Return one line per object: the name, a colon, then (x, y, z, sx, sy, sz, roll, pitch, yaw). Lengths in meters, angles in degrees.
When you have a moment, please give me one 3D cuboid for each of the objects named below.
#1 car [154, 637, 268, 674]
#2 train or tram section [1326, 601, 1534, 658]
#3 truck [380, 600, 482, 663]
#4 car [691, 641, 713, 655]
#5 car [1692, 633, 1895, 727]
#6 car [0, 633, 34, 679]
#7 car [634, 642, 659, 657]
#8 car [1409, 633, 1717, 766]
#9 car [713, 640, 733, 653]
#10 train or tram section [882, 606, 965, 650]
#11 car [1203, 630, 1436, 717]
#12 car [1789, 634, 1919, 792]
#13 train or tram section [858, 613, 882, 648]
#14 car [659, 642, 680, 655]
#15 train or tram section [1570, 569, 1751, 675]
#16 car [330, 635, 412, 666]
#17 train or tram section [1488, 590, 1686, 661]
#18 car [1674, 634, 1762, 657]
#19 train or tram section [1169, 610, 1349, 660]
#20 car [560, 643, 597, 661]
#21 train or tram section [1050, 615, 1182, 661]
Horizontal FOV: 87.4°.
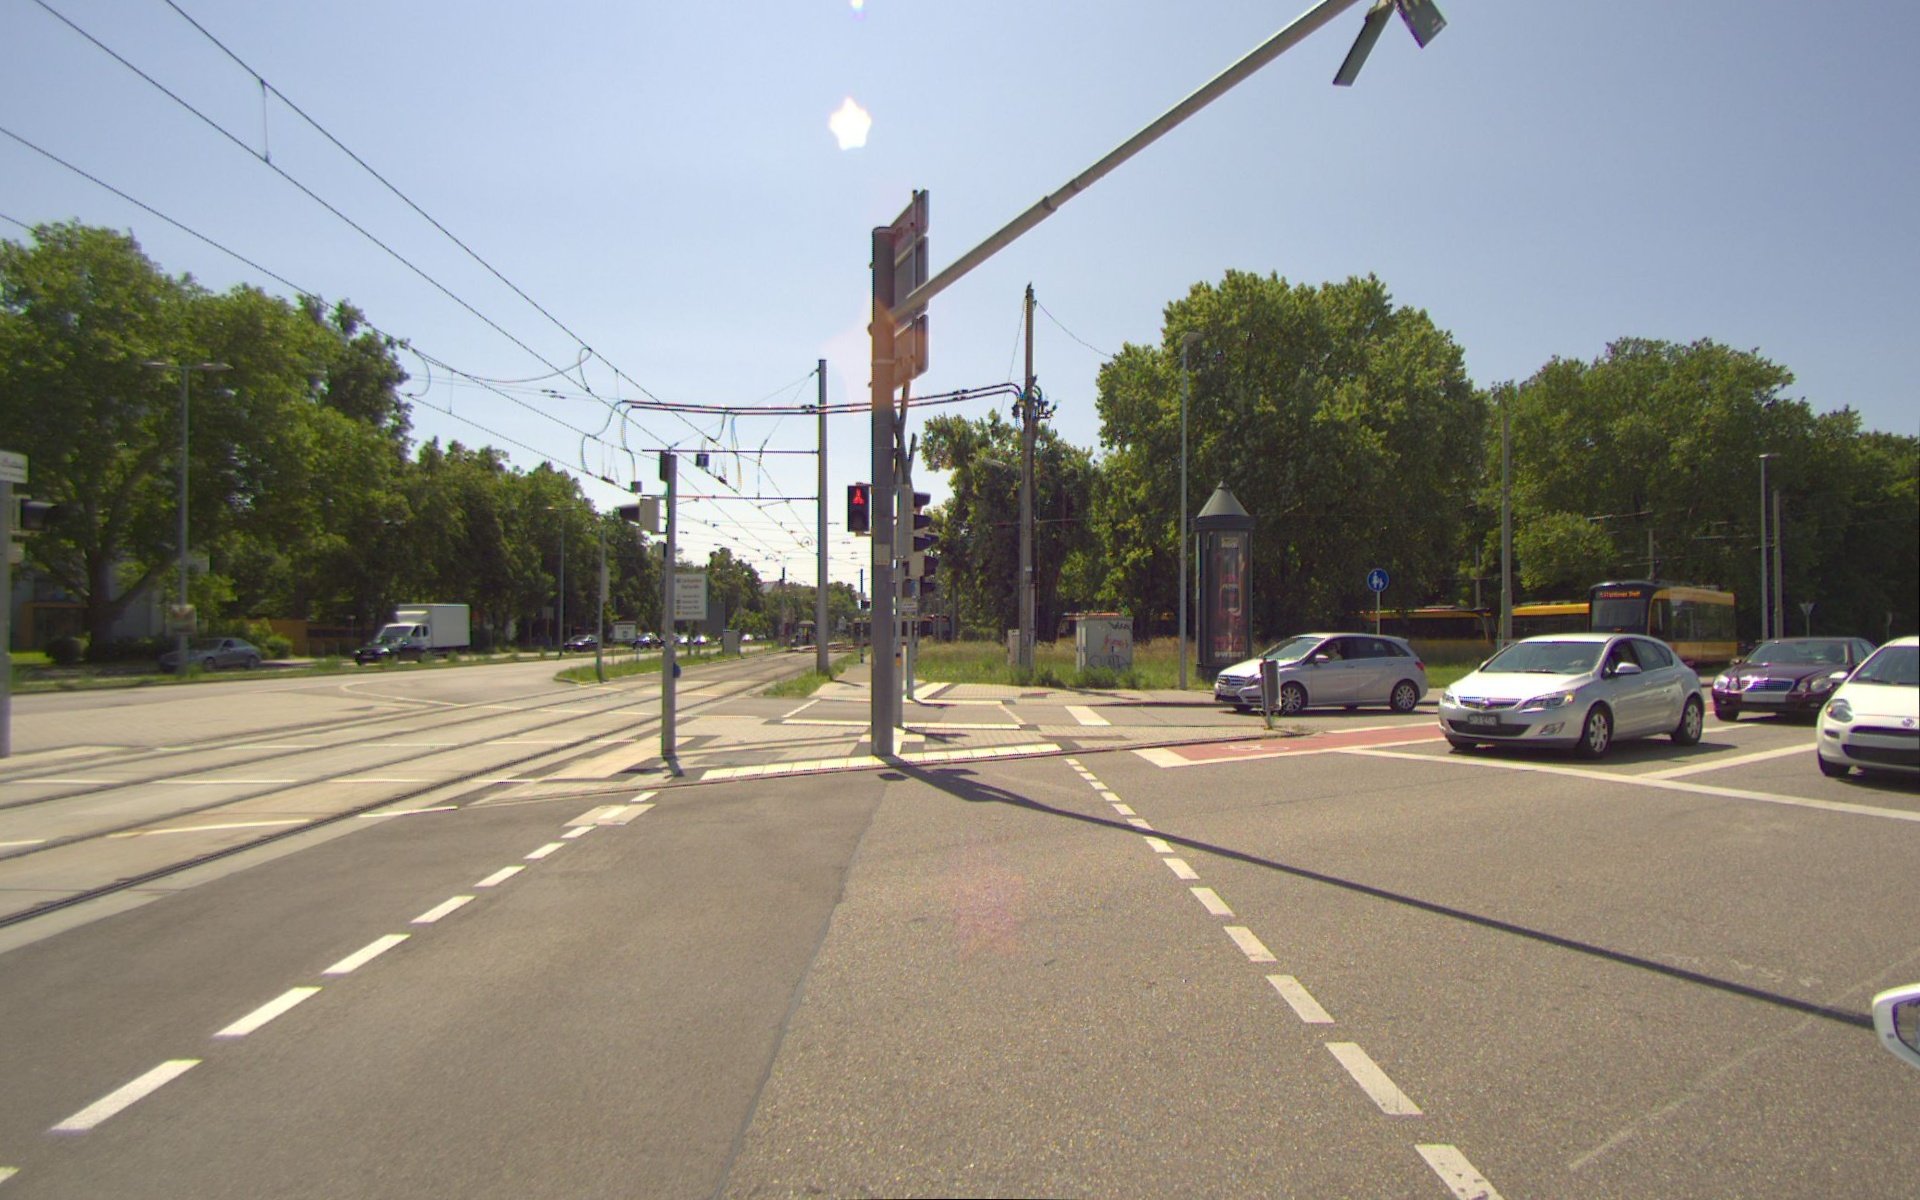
car: (-31.656, 2.316, 42.624, 1.813, 1.444, 4.214, -1, -2, -3)
train or tram section: (34.270, 2.358, 74.221, 2.999, 3.808, 14.042, 1, -3, -38)
truck: (-32.669, 1.945, 62.399, 2.538, 3.579, 7.710, -2, -2, -3)
car: (-34.213, 6.325, 133.231, 1.961, 1.754, 3.999, -2, -2, -3)
car: (14.811, 1.323, 17.788, 4.244, 1.476, 1.748, 1, -2, -36)
car: (-31.527, 1.776, 31.172, 1.813, 1.444, 4.213, -1, -2, -4)
car: (-31.420, 4.962, 100.705, 1.575, 1.303, 3.643, -2, -2, -6)
car: (7.961, 1.181, 13.135, 4.367, 1.475, 1.780, 1, -3, -34)
car: (-35.933, 7.076, 152.208, 1.961, 1.754, 4.001, -2, -2, 0)
train or tram section: (-4.067, 3.059, 106.386, 2.992, 4.310, 12.644, 0, -3, -32)
car: (7.133, 1.410, 19.997, 4.191, 1.566, 1.740, 0, -2, -19)
car: (10.567, 1.115, 10.707, 3.922, 1.457, 1.756, 1, -1, -36)
train or tram section: (-11.625, 4.055, 129.449, 2.969, 4.310, 12.744, -1, -3, -5)
car: (-32.163, 5.341, 111.232, 1.575, 1.303, 3.643, -2, -2, -6)
train or tram section: (29.157, 0.966, 41.431, 12.892, 3.808, 2.991, 1, -3, -41)
car: (-27.104, 2.288, 46.389, 1.714, 1.303, 3.997, -2, -2, -6)
train or tram section: (38.174, 1.731, 62.263, 2.967, 3.808, 14.049, -1, -3, -2)
car: (49.204, 2.935, 65.272, 1.644, 1.435, 4.287, 2, -3, -25)
train or tram section: (24.550, 2.974, 83.223, 13.954, 3.808, 3.018, -3, -3, 33)
car: (-31.623, 4.299, 83.454, 1.851, 1.303, 3.997, -2, -2, -6)
train or tram section: (13.812, 3.430, 89.425, 11.231, 3.808, 3.023, -2, -3, 27)
